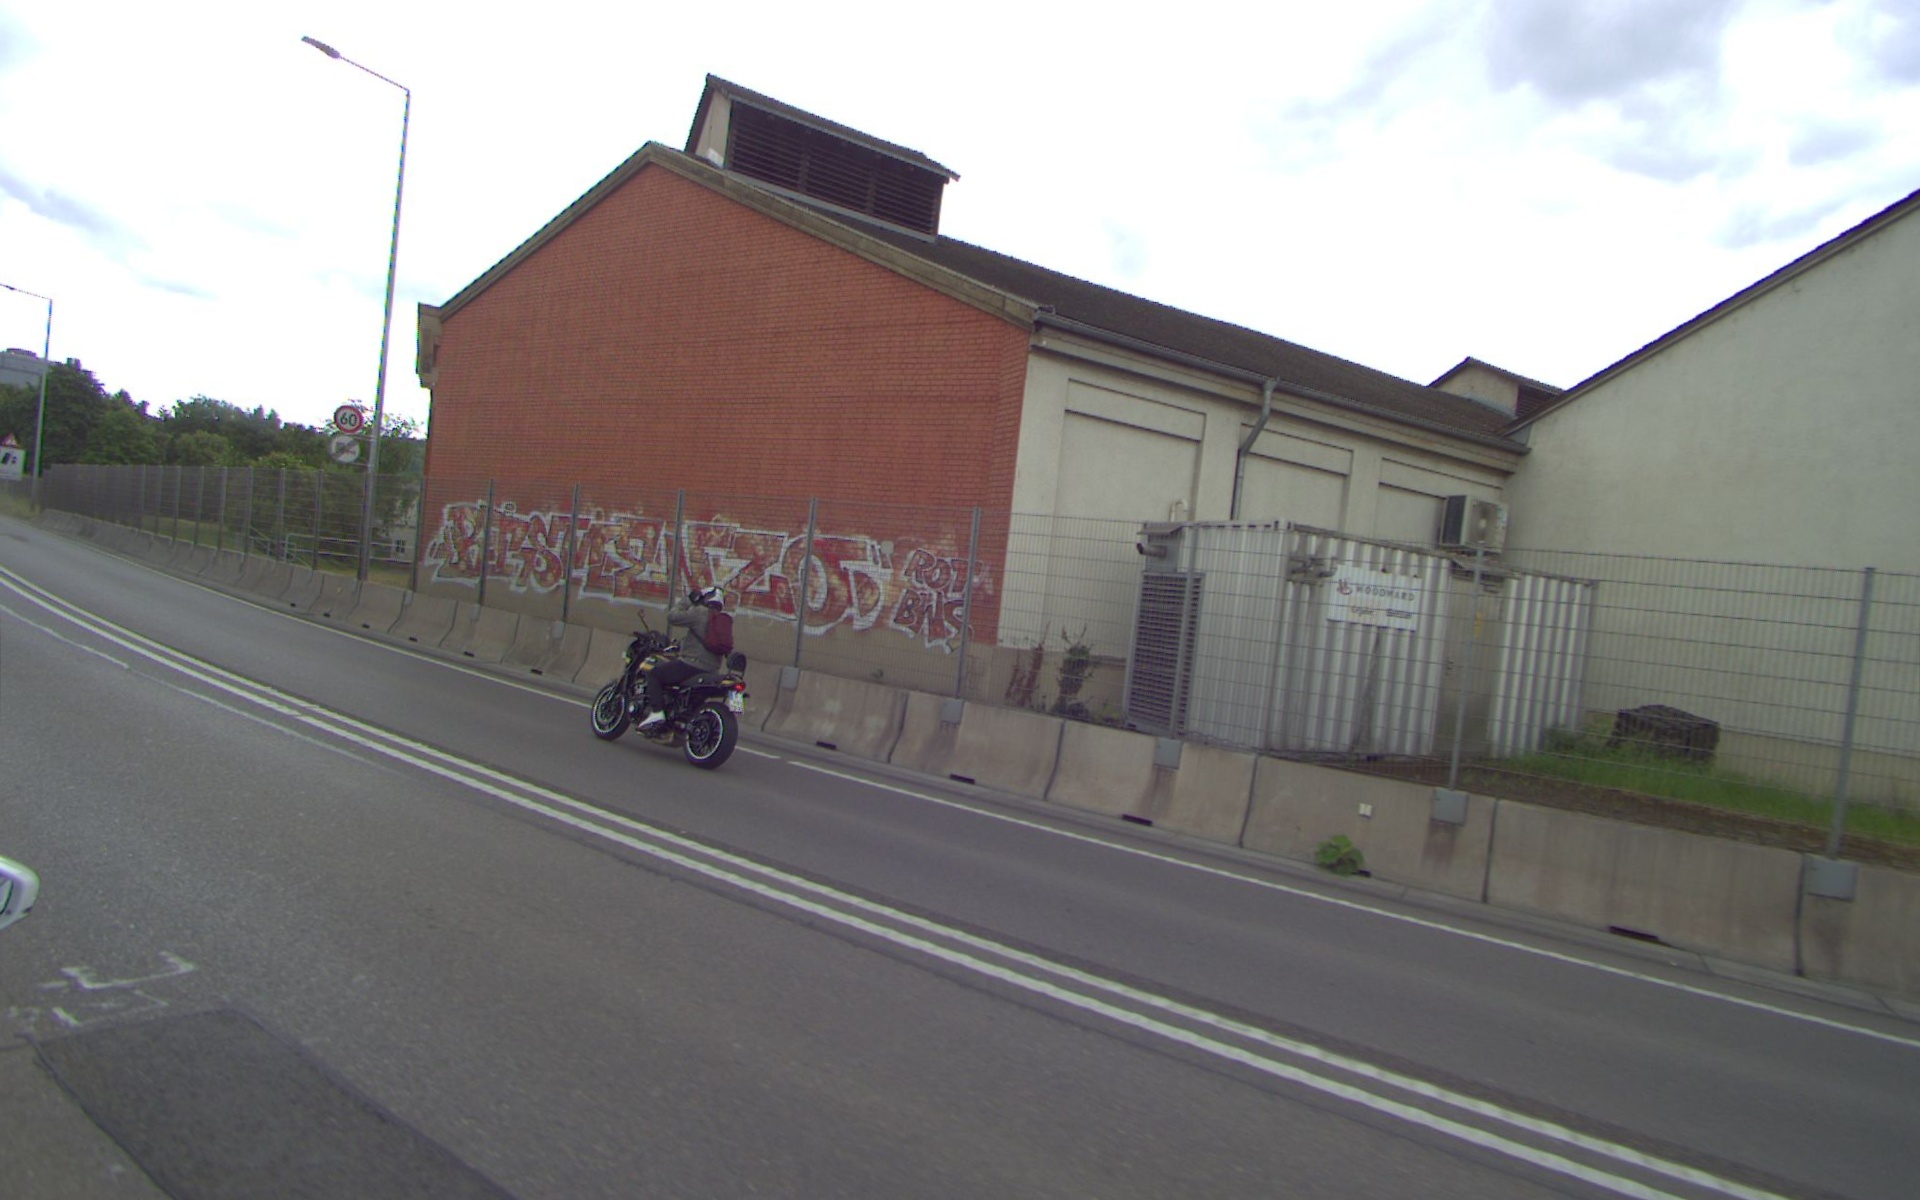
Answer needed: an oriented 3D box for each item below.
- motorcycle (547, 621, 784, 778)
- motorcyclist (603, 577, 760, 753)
[{"bbox_3d":[-2.908,0.898,9.724,2.625,1.097,0.743,6,0,39],"label":"motorcycle"},{"bbox_3d":[-2.642,0.609,9.562,0.952,1.495,0.912,7,0,38],"label":"motorcyclist"}]
